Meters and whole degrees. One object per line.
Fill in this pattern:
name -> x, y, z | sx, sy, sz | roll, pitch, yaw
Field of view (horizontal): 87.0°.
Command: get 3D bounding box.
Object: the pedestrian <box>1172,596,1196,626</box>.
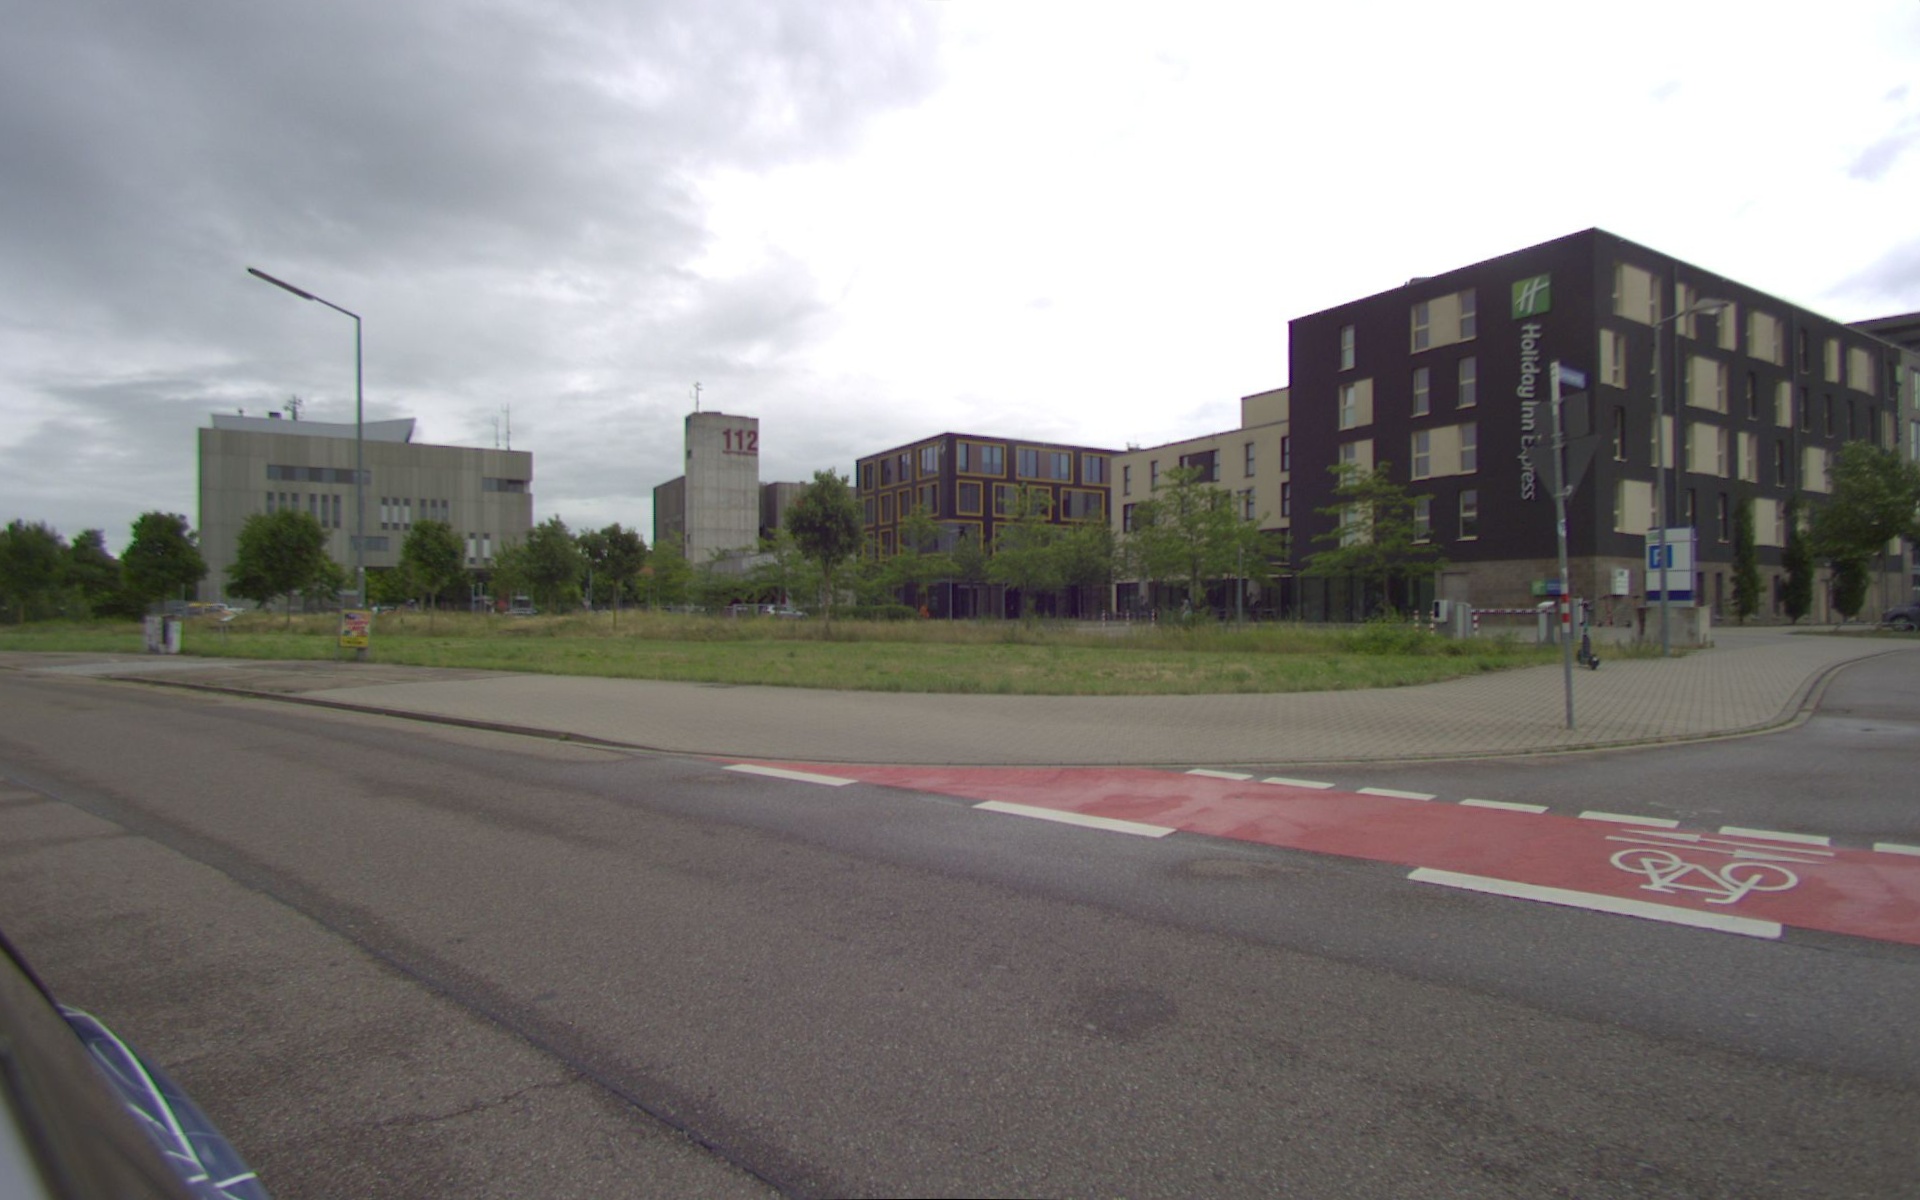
pedestrian -> 11.937, 0.570, 53.854 | 0.875, 1.583, 0.941 | -2, -2, 41

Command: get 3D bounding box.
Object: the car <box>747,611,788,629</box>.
car -> -16.762, 1.762, 88.003 | 1.967, 1.535, 4.009 | 2, -3, -37

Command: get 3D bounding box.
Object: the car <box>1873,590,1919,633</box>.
car -> 33.824, 0.362, 34.259 | 1.670, 1.453, 4.011 | 0, -1, -33

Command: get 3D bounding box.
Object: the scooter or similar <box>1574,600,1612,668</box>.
scooter or similar -> 11.718, 0.604, 18.732 | 0.570, 1.177, 1.451 | -1, 0, 32
